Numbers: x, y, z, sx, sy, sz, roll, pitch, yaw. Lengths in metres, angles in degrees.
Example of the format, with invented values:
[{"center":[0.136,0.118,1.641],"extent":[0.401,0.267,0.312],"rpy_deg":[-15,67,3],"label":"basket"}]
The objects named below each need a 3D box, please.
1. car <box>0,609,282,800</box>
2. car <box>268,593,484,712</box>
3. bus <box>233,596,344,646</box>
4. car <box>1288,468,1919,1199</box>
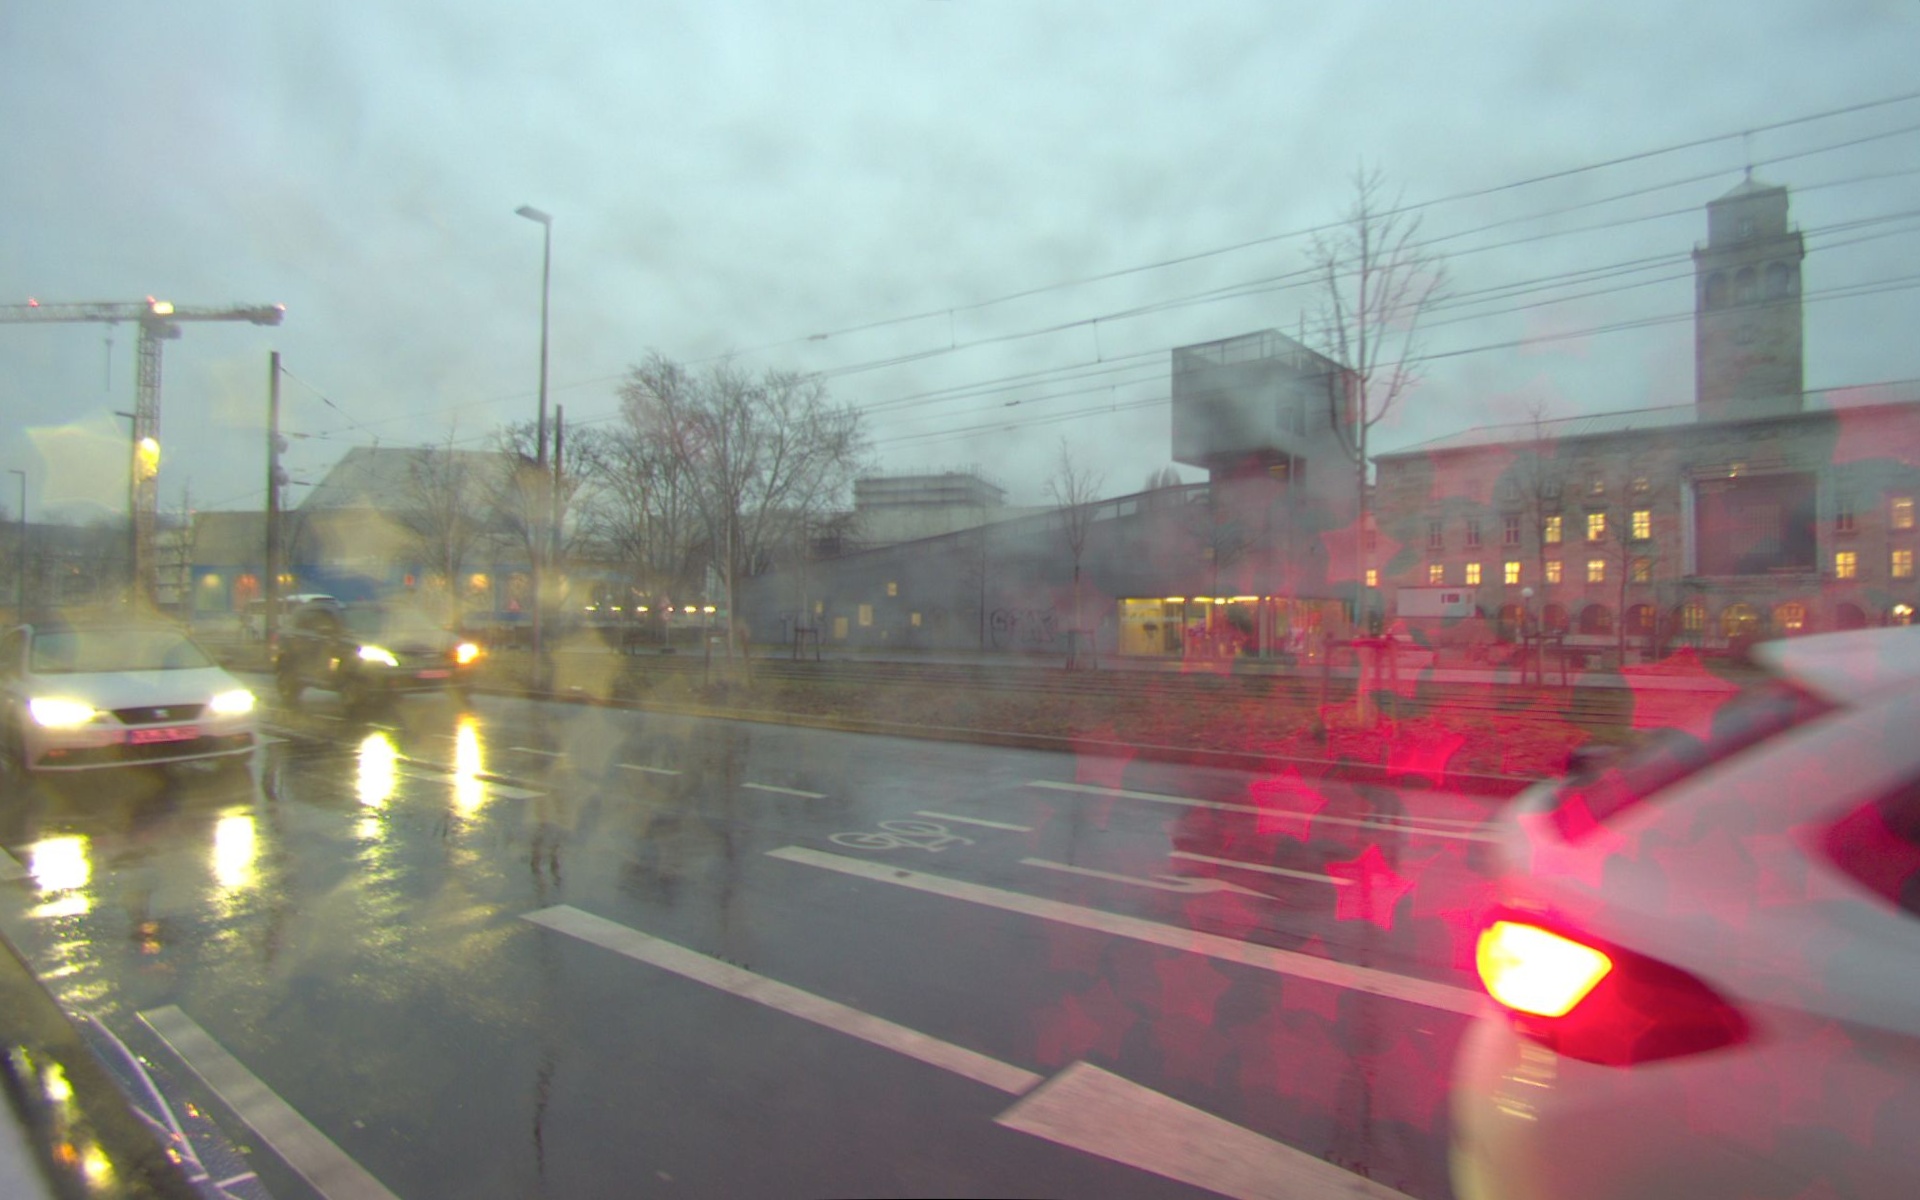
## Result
[{"center":[-8.385,0.851,9.897],"extent":[4.124,1.486,1.756],"rpy_deg":[-1,-1,38],"label":"car"},{"center":[-10.001,0.832,17.190],"extent":[4.608,1.756,1.685],"rpy_deg":[-1,-2,40],"label":"car"},{"center":[-51.936,1.637,78.097],"extent":[12.277,3.605,2.782],"rpy_deg":[-1,-2,35],"label":"bus"},{"center":[3.018,0.609,0.798],"extent":[4.920,1.532,1.890],"rpy_deg":[-1,-2,40],"label":"car"}]
